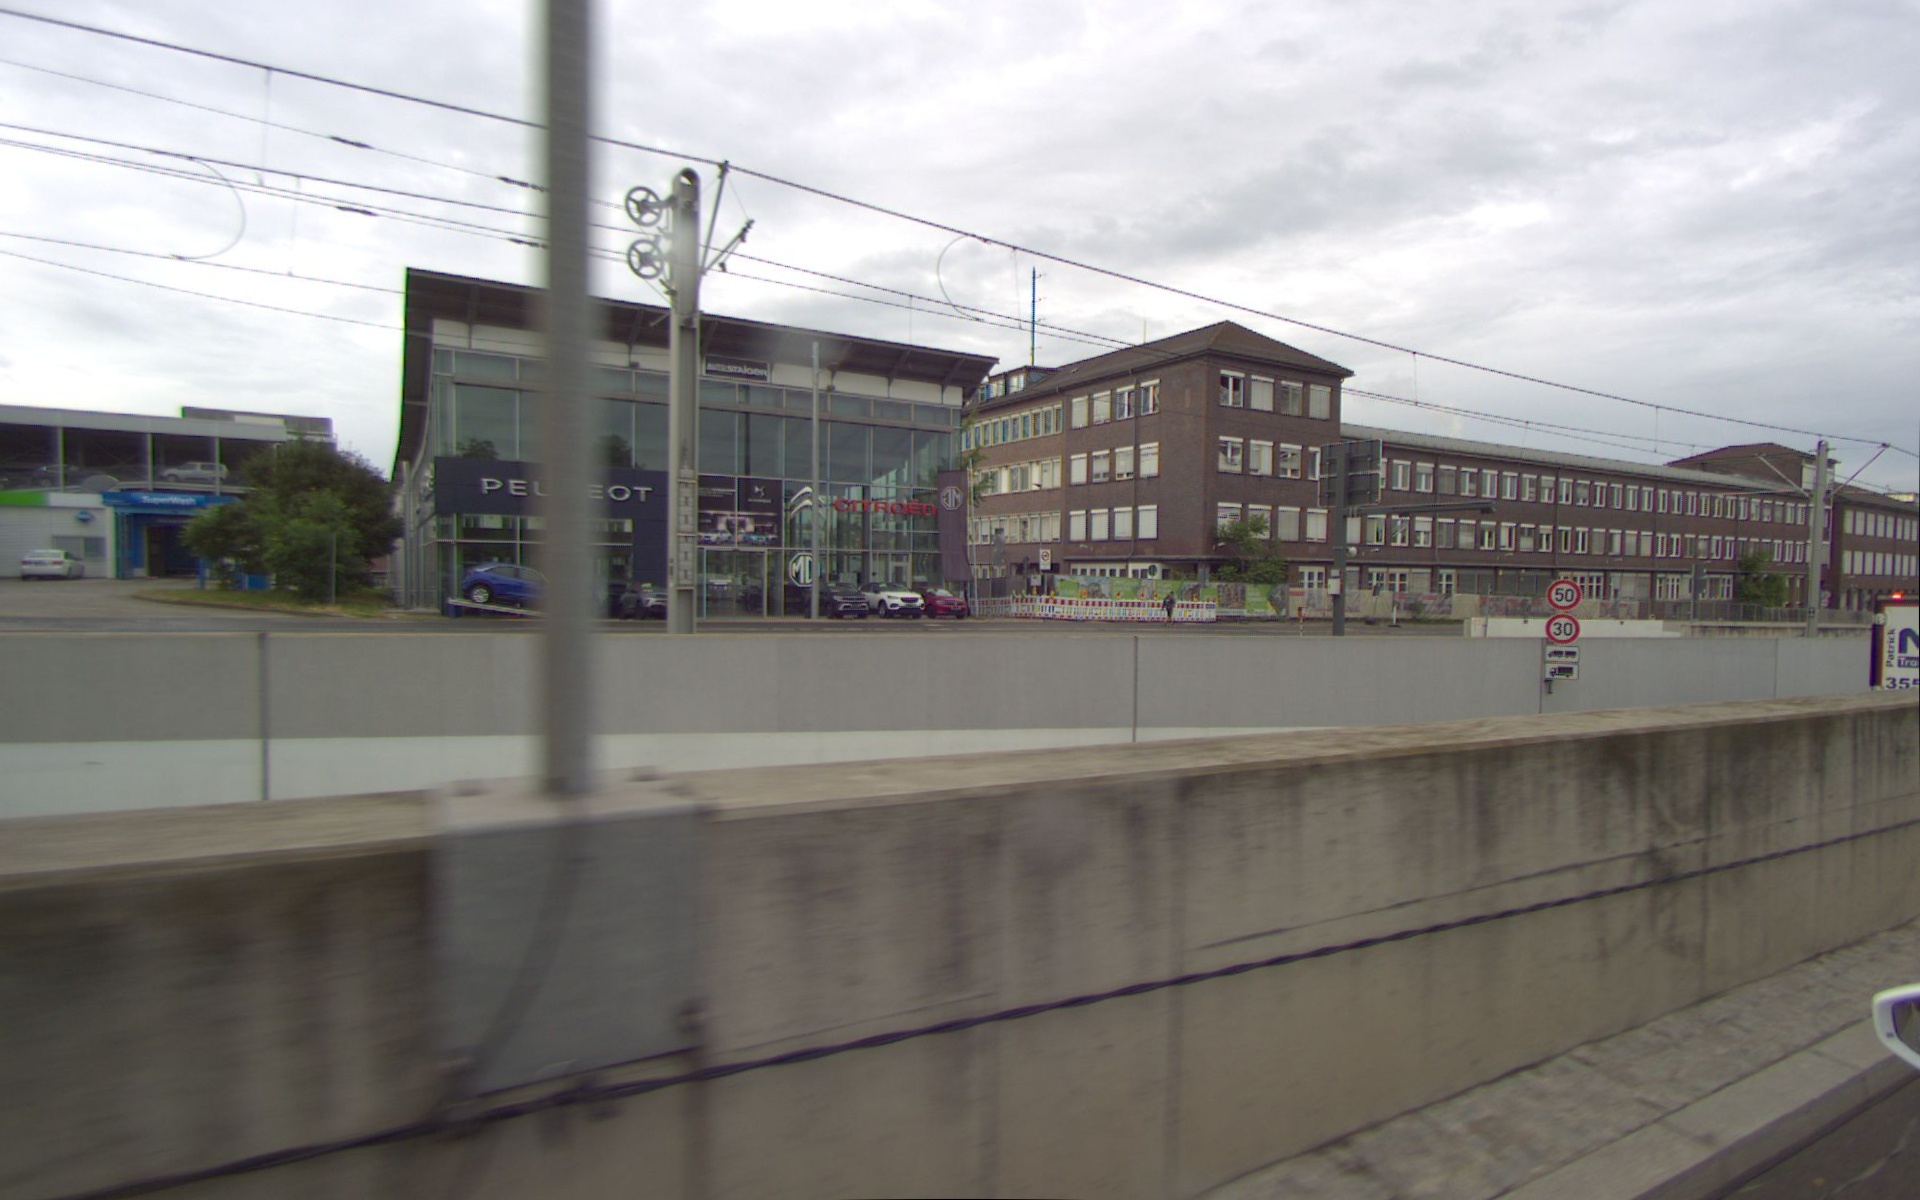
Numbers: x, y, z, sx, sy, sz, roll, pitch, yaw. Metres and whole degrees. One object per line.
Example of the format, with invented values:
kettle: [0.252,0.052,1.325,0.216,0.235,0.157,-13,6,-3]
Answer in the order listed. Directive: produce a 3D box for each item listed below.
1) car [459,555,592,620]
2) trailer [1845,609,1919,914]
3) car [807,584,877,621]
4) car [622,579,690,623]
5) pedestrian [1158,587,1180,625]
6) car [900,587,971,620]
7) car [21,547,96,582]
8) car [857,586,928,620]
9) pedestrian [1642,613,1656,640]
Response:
car: [-15.177,-0.428,35.270,4.014,1.629,1.757,9,-2,-23]
trailer: [19.481,2.384,17.030,13.027,4.309,2.749,1,0,-30]
car: [-4.984,0.100,42.162,1.729,1.493,3.464,1,0,-30]
car: [-11.529,0.057,38.026,1.557,1.421,3.484,0,-4,-33]
pedestrian: [9.887,0.291,47.517,0.830,1.774,0.612,1,1,-30]
car: [-1.132,0.171,45.113,1.601,1.400,3.460,1,-1,-33]
car: [-45.037,-1.763,50.256,1.834,1.662,3.971,1,1,-28]
car: [-2.979,0.124,43.598,1.729,1.416,3.464,1,0,-30]
pedestrian: [52.874,2.011,77.048,0.645,2.040,0.667,1,0,-32]
